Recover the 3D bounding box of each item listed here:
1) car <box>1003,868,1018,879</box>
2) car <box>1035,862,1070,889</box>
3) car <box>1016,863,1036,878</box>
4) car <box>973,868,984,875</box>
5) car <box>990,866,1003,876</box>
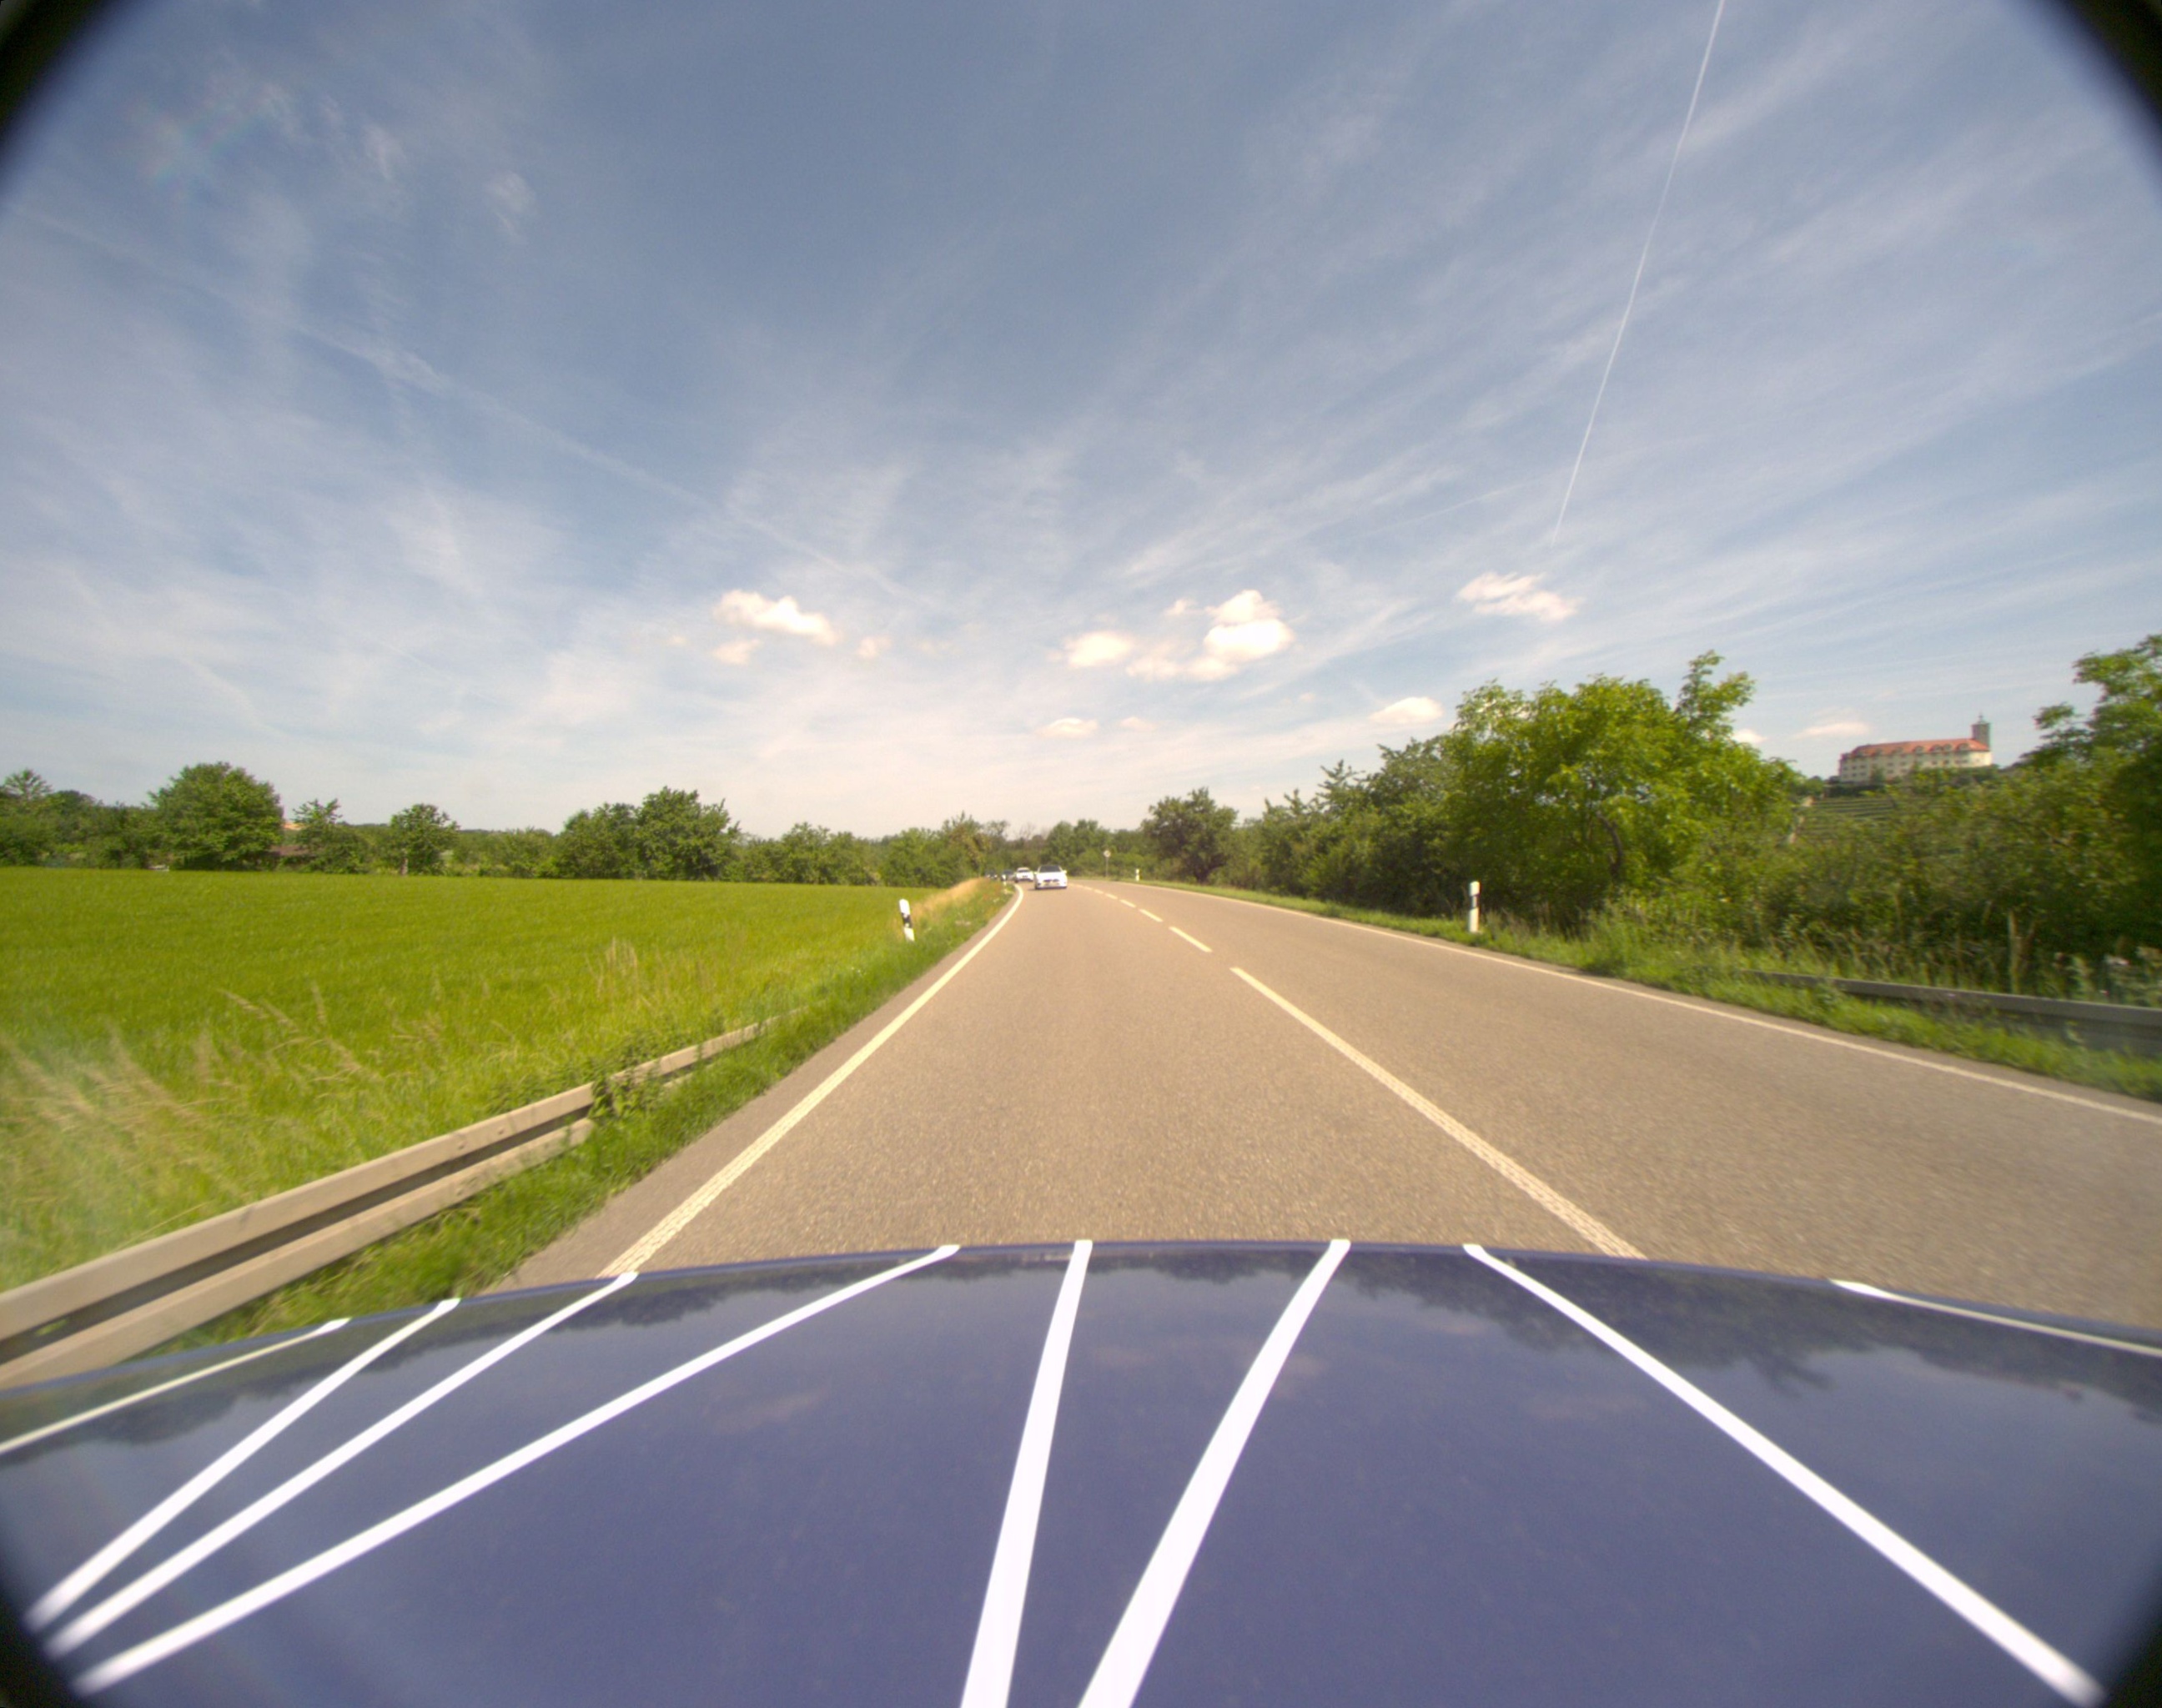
[{"bbox_3d":[-9.530,2.598,102.775,1.930,1.441,4.074,0,0,-7],"label":"car"},{"bbox_3d":[-1.755,1.278,46.486,1.929,1.441,4.534,-2,-1,-3],"label":"car"},{"bbox_3d":[-5.797,1.727,79.544,1.930,1.441,3.998,-3,0,-6],"label":"car"},{"bbox_3d":[-23.924,4.117,177.756,1.931,1.616,3.995,-2,-1,-16],"label":"car"},{"bbox_3d":[-13.723,2.773,122.956,1.931,1.441,3.996,0,1,-9],"label":"car"}]
